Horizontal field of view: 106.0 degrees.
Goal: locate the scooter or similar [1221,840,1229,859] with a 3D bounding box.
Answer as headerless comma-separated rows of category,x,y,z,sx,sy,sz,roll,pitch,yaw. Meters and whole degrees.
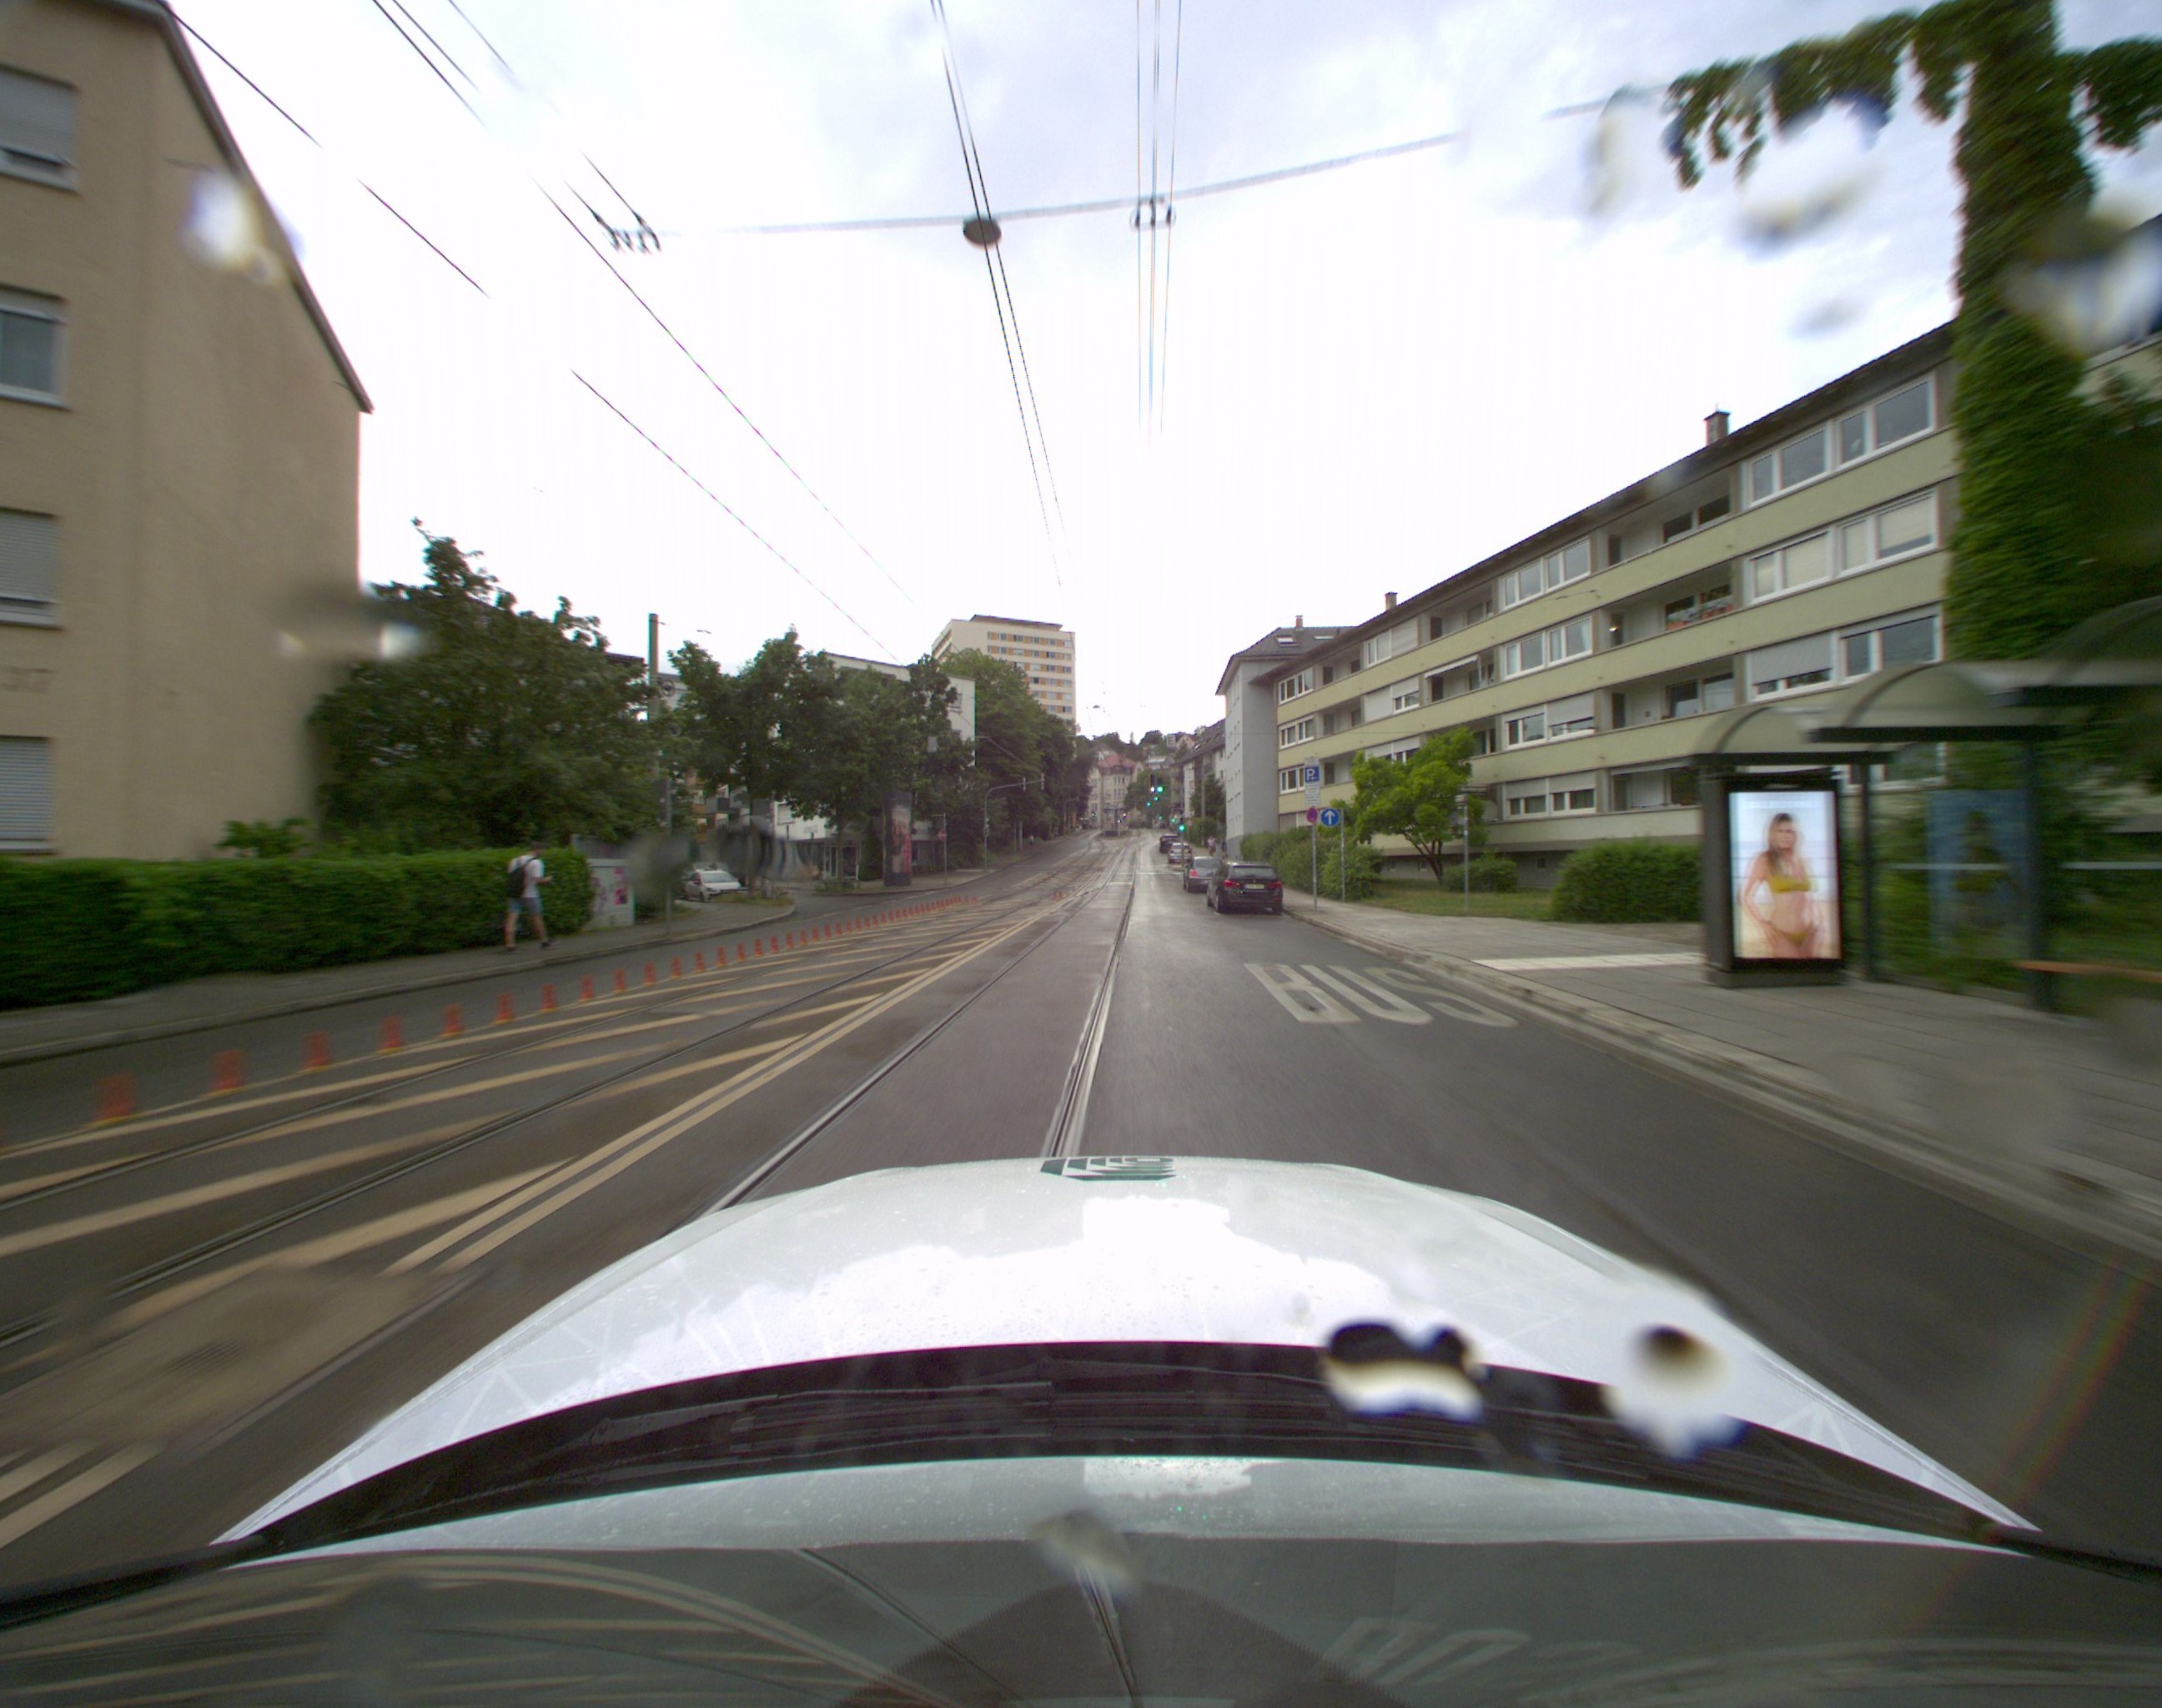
scooter or similar,10.694,-0.357,60.576,0.571,1.249,1.615,0,4,9

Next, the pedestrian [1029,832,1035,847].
pedestrian,-5.266,-1.525,87.063,0.581,1.600,0.869,2,1,0

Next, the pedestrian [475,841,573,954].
pedestrian,-9.547,0.732,13.998,0.916,1.846,1.017,1,-1,-1

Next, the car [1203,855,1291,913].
car,4.711,0.797,23.775,1.850,1.487,4.648,0,0,3

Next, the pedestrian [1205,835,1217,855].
pedestrian,10.500,-0.722,65.986,0.878,1.582,0.803,-2,4,6

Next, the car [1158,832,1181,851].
car,8.233,-1.208,76.437,1.898,1.641,4.695,1,2,3

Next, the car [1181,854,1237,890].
car,5.456,0.735,35.190,1.932,1.464,4.208,0,0,2

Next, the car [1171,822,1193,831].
car,18.885,-5.145,152.657,3.970,1.645,1.809,0,0,3

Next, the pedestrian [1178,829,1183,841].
pedestrian,13.405,-2.601,109.975,0.641,1.628,0.700,0,1,6

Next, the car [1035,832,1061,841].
car,-5.350,-2.881,133.274,3.950,1.406,1.692,0,-2,27

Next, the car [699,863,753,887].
car,-23.289,1.344,53.410,2.011,1.518,3.951,2,-2,-43

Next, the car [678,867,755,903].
car,-16.125,1.335,35.957,2.010,1.481,4.111,2,-2,-40

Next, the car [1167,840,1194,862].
car,7.307,-0.230,60.100,1.697,1.433,4.106,1,2,3
